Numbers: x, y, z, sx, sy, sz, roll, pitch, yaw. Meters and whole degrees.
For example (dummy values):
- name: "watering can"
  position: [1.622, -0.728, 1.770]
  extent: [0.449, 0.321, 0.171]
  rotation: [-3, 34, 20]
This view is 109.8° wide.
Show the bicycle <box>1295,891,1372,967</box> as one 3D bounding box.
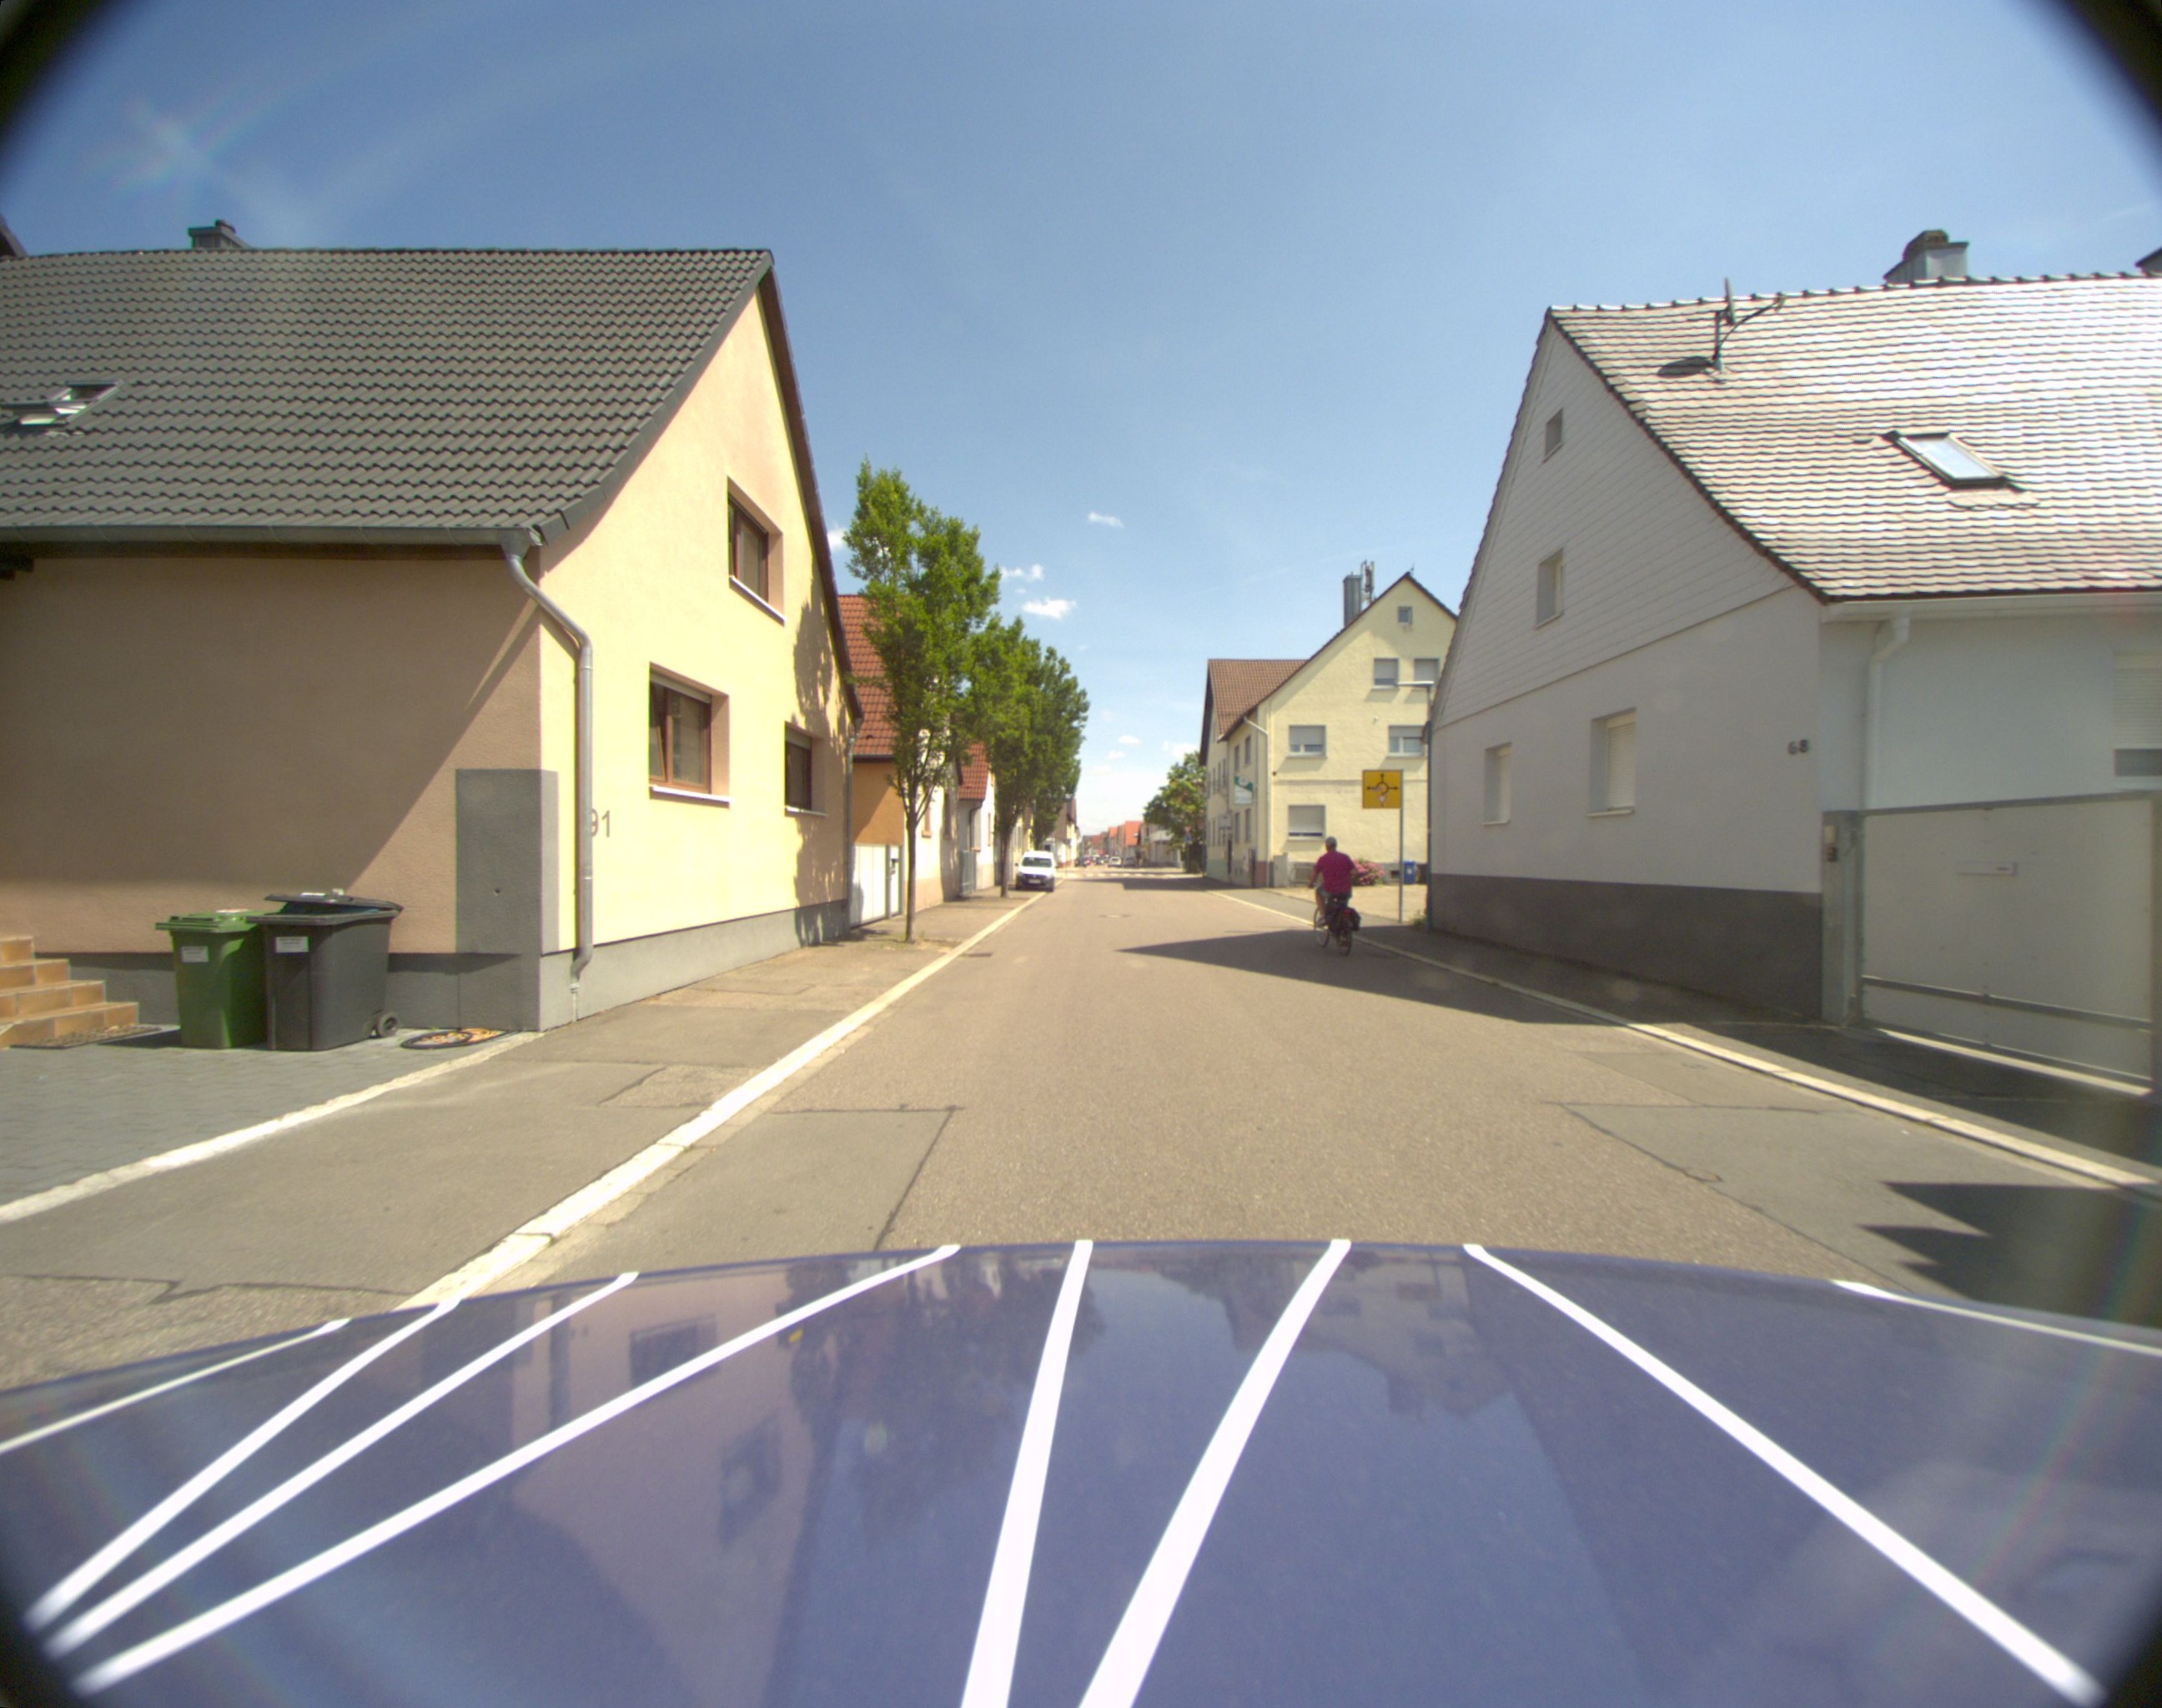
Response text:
- name: "bicycle"
  position: [4.054, 1.167, 12.331]
  extent: [0.744, 1.041, 1.941]
  rotation: [0, 0, 5]

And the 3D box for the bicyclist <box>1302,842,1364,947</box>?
- name: "bicyclist"
  position: [4.052, 0.630, 12.267]
  extent: [0.748, 1.627, 0.957]
  rotation: [0, 1, 4]

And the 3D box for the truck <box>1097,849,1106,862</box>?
- name: "truck"
  position: [5.804, 0.454, 214.087]
  extent: [1.999, 3.420, 7.074]
  rotation: [-1, 1, -1]

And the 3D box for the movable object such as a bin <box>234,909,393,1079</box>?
- name: "movable object such as a bin"
  position: [-5.771, 1.022, 5.749]
  extent: [0.493, 1.143, 0.698]
  rotation: [1, 1, -1]

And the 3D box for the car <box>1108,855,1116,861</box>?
- name: "car"
  position: [7.401, 0.966, 181.020]
  extent: [1.726, 1.385, 4.171]
  rotation: [0, -2, 3]

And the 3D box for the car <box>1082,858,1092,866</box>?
- name: "car"
  position: [1.005, 1.384, 132.402]
  extent: [1.598, 1.385, 4.170]
  rotation: [0, -2, 2]

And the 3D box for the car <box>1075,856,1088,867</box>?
- name: "car"
  position: [0.037, 1.078, 103.371]
  extent: [1.598, 1.385, 4.170]
  rotation: [0, -2, 2]

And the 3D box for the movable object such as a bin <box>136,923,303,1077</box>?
- name: "movable object such as a bin"
  position: [-6.449, 1.065, 5.721]
  extent: [0.493, 1.023, 0.671]
  rotation: [1, 1, -1]

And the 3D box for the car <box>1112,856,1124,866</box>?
- name: "car"
  position: [5.196, 0.968, 106.323]
  extent: [1.598, 1.385, 4.168]
  rotation: [-1, 0, 1]

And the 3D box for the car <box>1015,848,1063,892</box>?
- name: "car"
  position: [-1.860, 0.693, 35.077]
  extent: [1.692, 1.831, 4.764]
  rotation: [3, 0, 2]

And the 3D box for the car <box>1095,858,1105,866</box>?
- name: "car"
  position: [3.290, 1.386, 131.393]
  extent: [1.598, 1.385, 4.168]
  rotation: [-1, 0, 1]

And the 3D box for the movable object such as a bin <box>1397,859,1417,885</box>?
- name: "movable object such as a bin"
  position: [14.105, 0.778, 32.843]
  extent: [0.578, 1.066, 0.680]
  rotation: [-1, 1, 3]

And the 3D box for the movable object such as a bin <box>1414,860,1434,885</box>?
- name: "movable object such as a bin"
  position: [14.816, 0.797, 32.866]
  extent: [0.578, 1.066, 0.680]
  rotation: [-1, 1, 3]

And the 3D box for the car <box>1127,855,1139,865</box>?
- name: "car"
  position: [7.690, 0.957, 113.514]
  extent: [1.726, 1.385, 4.171]
  rotation: [0, -2, 3]

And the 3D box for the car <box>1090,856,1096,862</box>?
- name: "car"
  position: [3.142, 1.259, 196.274]
  extent: [1.598, 1.385, 4.168]
  rotation: [0, 0, 0]
